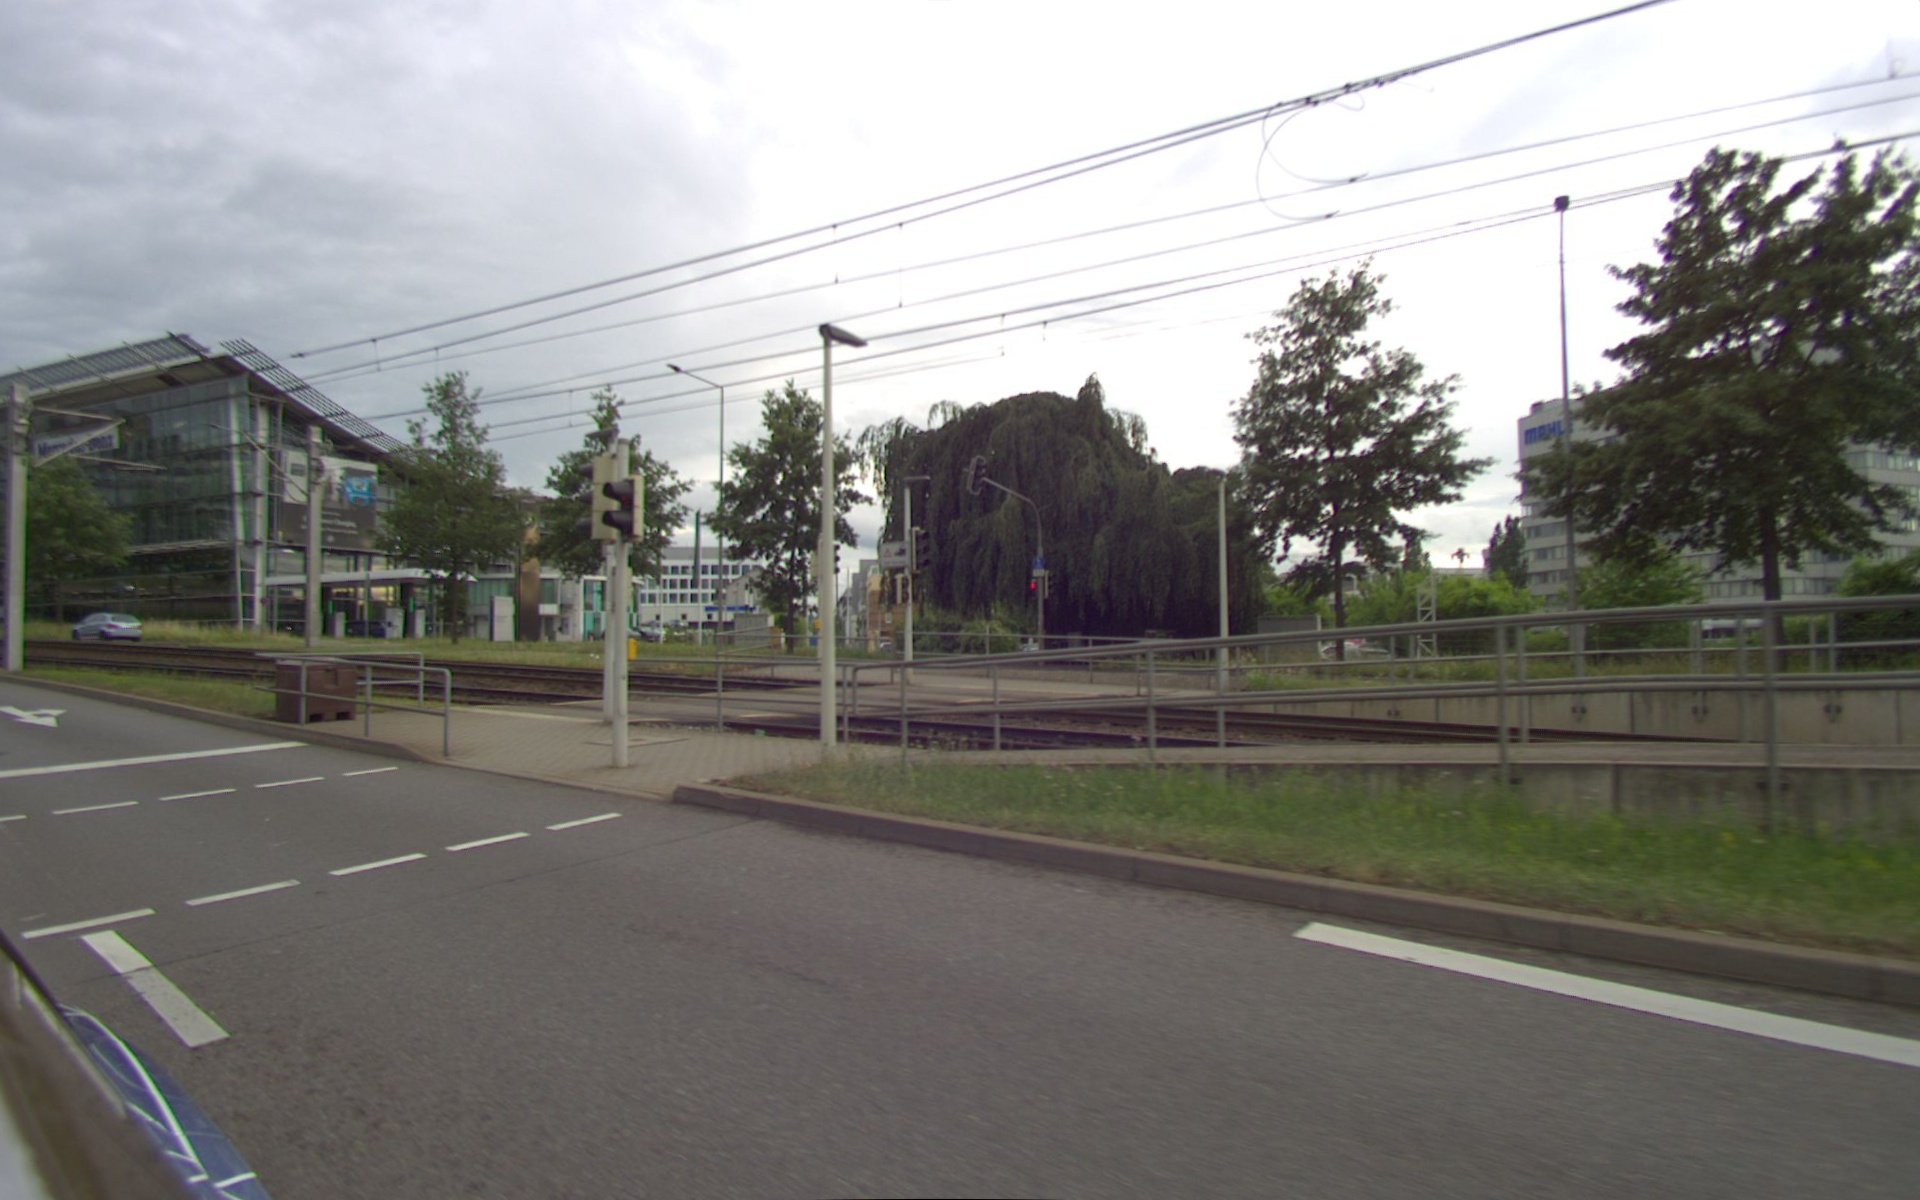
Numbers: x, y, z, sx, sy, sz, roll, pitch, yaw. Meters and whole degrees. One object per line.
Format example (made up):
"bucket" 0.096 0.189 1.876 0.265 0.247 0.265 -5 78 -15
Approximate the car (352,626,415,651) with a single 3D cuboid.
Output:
"car" -46.274 3.088 81.242 3.940 1.864 1.897 1 0 -4

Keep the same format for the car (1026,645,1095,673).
"car" 5.967 3.514 60.437 3.946 1.505 1.756 1 0 2

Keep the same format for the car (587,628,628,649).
"car" -33.167 3.600 95.239 3.739 1.723 1.761 1 0 35

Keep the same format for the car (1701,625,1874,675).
"car" 26.145 1.561 32.049 3.938 1.425 2.003 1 0 -6

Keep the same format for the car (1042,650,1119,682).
"car" 6.457 3.538 54.618 3.946 1.505 1.756 1 0 2

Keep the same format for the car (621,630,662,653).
"car" -31.043 4.001 98.543 3.737 2.029 1.885 1 0 35

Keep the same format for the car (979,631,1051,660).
"car" 3.133 2.601 58.366 3.941 1.521 2.001 1 0 -2

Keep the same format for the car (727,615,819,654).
"car" -8.962 1.615 48.568 3.982 1.663 1.981 1 0 28

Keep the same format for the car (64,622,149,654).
"car" -47.025 2.059 55.769 3.973 1.692 1.985 -1 -1 22
